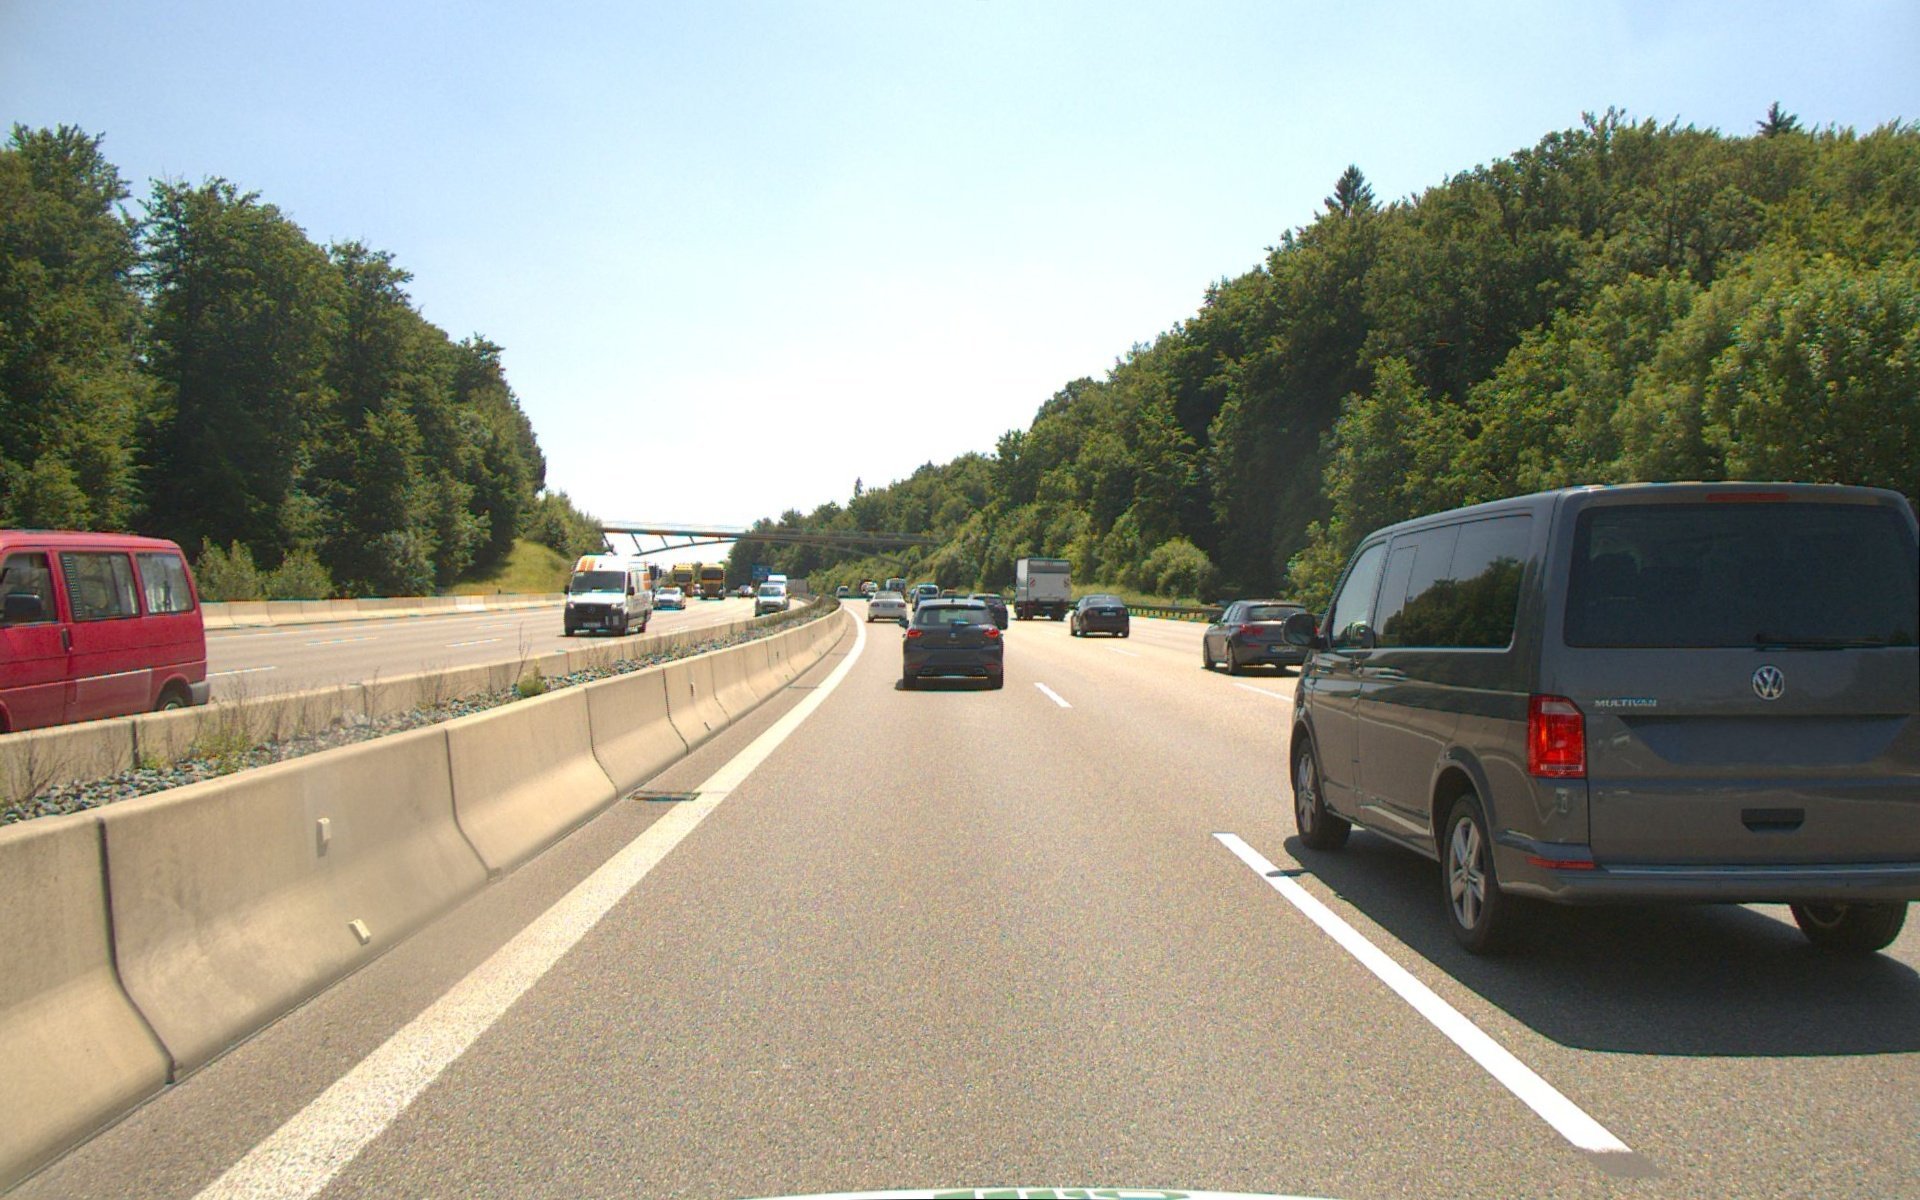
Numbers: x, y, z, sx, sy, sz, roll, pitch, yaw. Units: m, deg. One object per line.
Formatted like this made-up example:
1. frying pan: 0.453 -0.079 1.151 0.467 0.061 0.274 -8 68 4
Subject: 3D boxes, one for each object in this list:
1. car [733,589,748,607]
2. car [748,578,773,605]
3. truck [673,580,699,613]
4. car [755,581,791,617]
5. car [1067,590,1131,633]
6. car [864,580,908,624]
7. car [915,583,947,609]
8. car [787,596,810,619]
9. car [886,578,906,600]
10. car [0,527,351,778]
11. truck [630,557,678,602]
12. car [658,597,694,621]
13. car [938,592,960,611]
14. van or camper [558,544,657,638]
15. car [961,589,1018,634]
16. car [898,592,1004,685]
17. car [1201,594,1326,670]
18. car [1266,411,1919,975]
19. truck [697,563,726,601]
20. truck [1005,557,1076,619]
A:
1. car: -27.413 -0.269 206.722 1.611 2.049 3.996 2 -2 -4
2. car: -18.535 -0.790 153.735 2.113 2.533 4.697 0 0 -5
3. truck: -34.519 -0.486 208.568 2.697 4.087 6.745 1 0 -5
4. car: -10.394 -0.061 91.984 1.783 1.904 4.585 0 0 -4
5. car: 4.870 0.381 58.457 1.632 1.433 4.901 1 0 -2
6. car: -3.569 0.131 79.426 1.972 1.878 3.996 1 -3 -4
7. car: -2.056 -0.266 115.651 2.061 1.775 4.684 1 0 -3
8. car: -15.519 0.713 159.157 1.954 2.049 3.997 2 -2 -3
9. car: -7.348 -1.199 189.138 2.219 2.413 4.699 0 -1 -2
10. car: -7.477 0.413 15.630 1.734 1.978 5.084 1 0 -2
11. truck: -25.517 -1.670 138.356 2.558 3.526 9.875 2 0 -3
12. car: -18.764 0.553 109.523 1.728 1.508 4.492 2 0 -2
13. car: -1.184 0.193 176.828 2.102 1.890 3.998 2 -1 -3
14. van or camper: -11.814 -0.198 55.967 1.953 2.849 7.410 2 -2 -2
15. car: 1.187 0.505 68.067 1.954 1.758 4.145 0 -1 -4
16. car: -0.163 0.617 28.456 1.673 1.458 3.999 1 0 -1
17. car: 6.000 0.597 33.091 1.667 1.420 4.153 0 0 -1
18. car: 3.083 0.443 8.677 1.923 2.069 5.081 1 -2 -1
19. truck: -26.421 -1.885 176.073 2.481 4.009 6.795 1 0 -5
20. truck: 4.313 -0.644 90.438 2.927 3.222 7.568 1 0 -4
